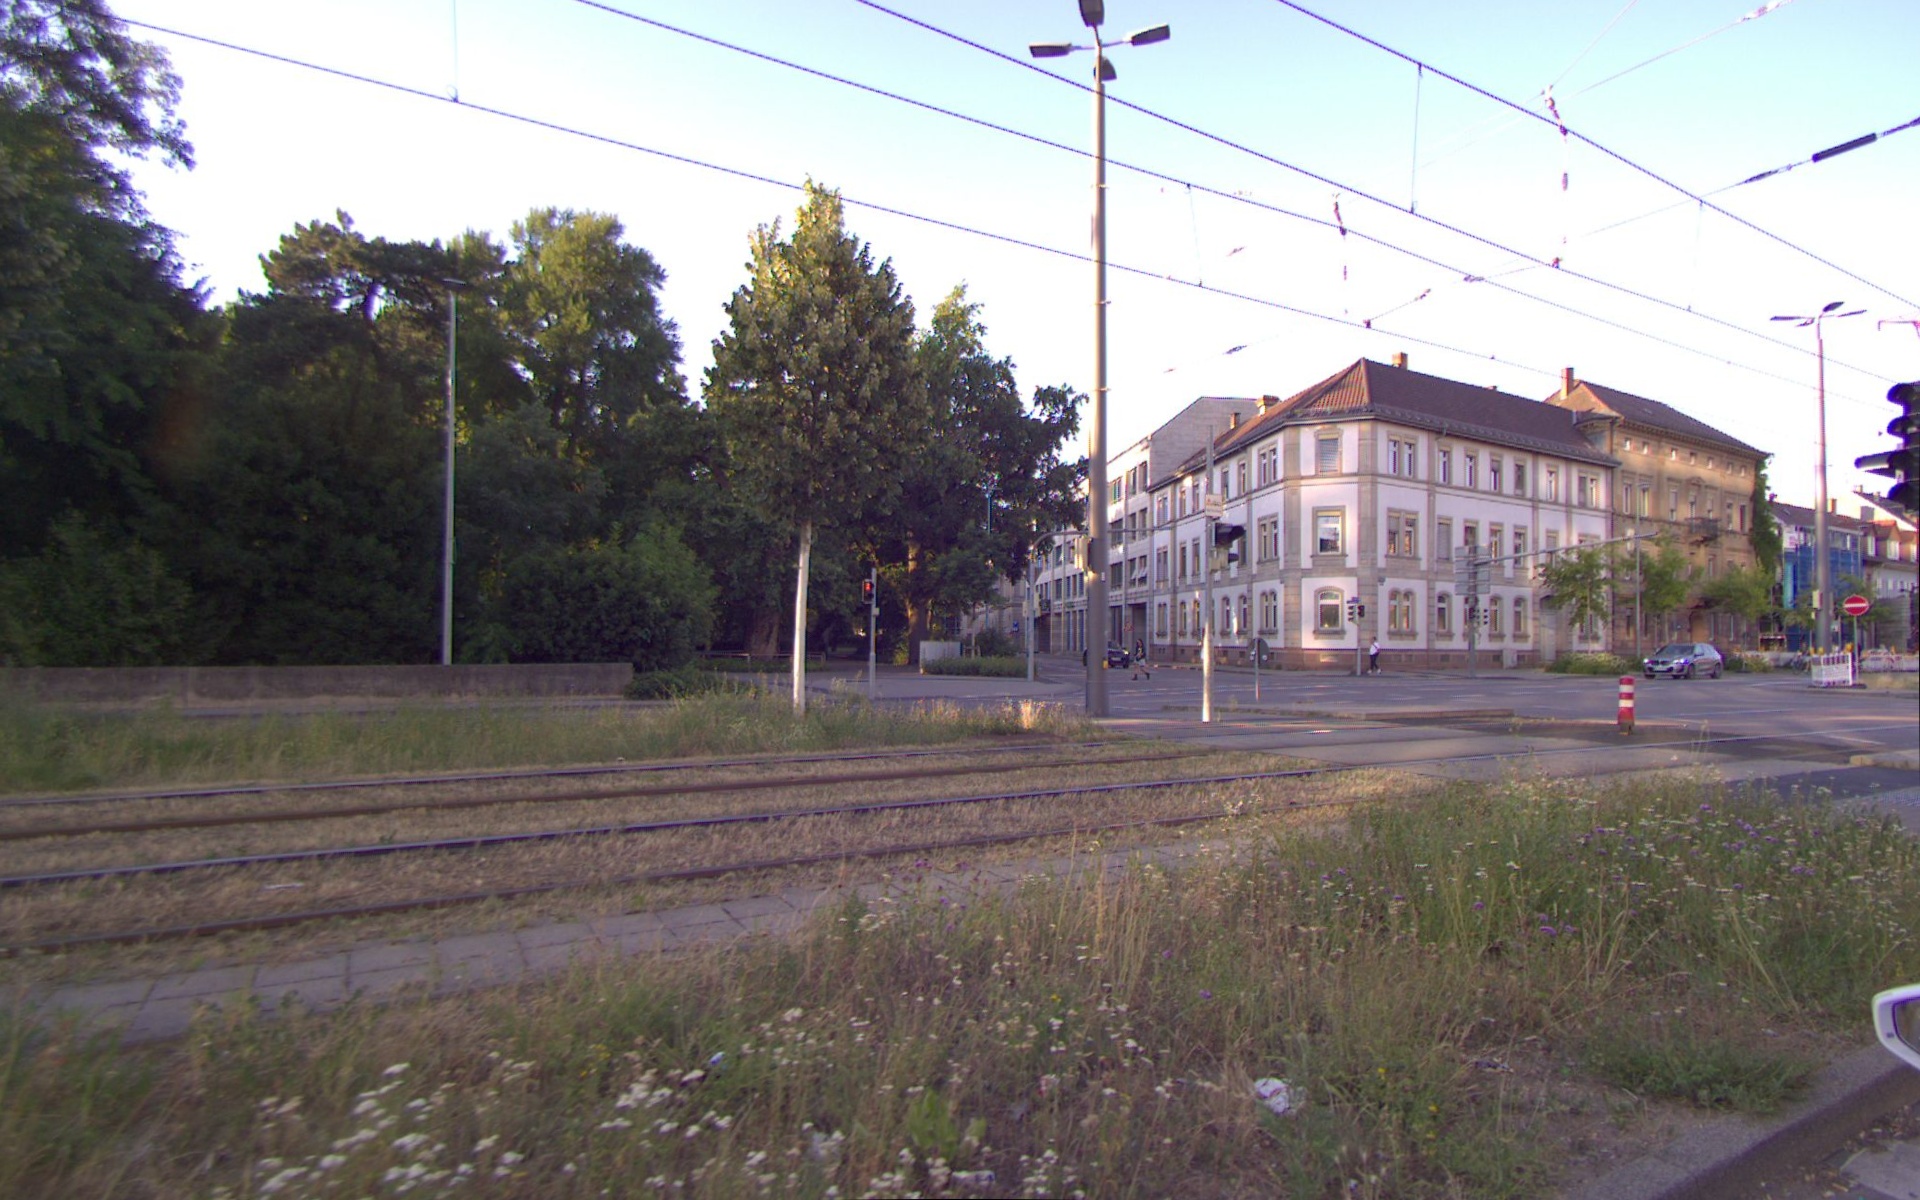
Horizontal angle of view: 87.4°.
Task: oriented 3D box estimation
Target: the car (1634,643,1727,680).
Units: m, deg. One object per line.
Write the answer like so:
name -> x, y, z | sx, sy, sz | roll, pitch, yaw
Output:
car -> 32.891, 2.780, 45.868 | 4.077, 1.601, 1.984 | 1, -3, -31

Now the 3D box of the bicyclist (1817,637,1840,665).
bicyclist -> 50.079, 2.936, 57.942 | 0.783, 1.592, 0.768 | 1, 0, -30

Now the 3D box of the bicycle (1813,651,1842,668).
bicycle -> 50.065, 3.424, 57.947 | 1.621, 0.957, 0.768 | 1, 0, -31

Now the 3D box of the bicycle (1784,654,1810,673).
bicycle -> 47.386, 3.589, 56.861 | 1.536, 1.002, 0.587 | 1, 0, -27

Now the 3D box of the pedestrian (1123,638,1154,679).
pedestrian -> 6.647, 2.173, 37.369 | 0.925, 1.478, 0.600 | 2, 0, -29

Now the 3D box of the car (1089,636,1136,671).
car -> 8.003, 2.810, 53.081 | 1.755, 1.576, 3.999 | 1, 0, -2

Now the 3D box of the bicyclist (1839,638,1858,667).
bicyclist -> 50.102, 2.974, 56.616 | 0.702, 1.590, 0.587 | 1, 0, -30

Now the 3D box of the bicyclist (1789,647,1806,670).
bicyclist -> 47.394, 3.325, 56.858 | 0.454, 1.283, 0.588 | 1, 0, -26

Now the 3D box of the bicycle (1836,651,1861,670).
bicycle -> 50.091, 3.404, 56.621 | 1.538, 0.988, 0.587 | 1, 0, -31

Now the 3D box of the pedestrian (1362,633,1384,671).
pedestrian -> 19.272, 2.413, 46.881 | 0.796, 1.738, 0.705 | 1, 0, 13
